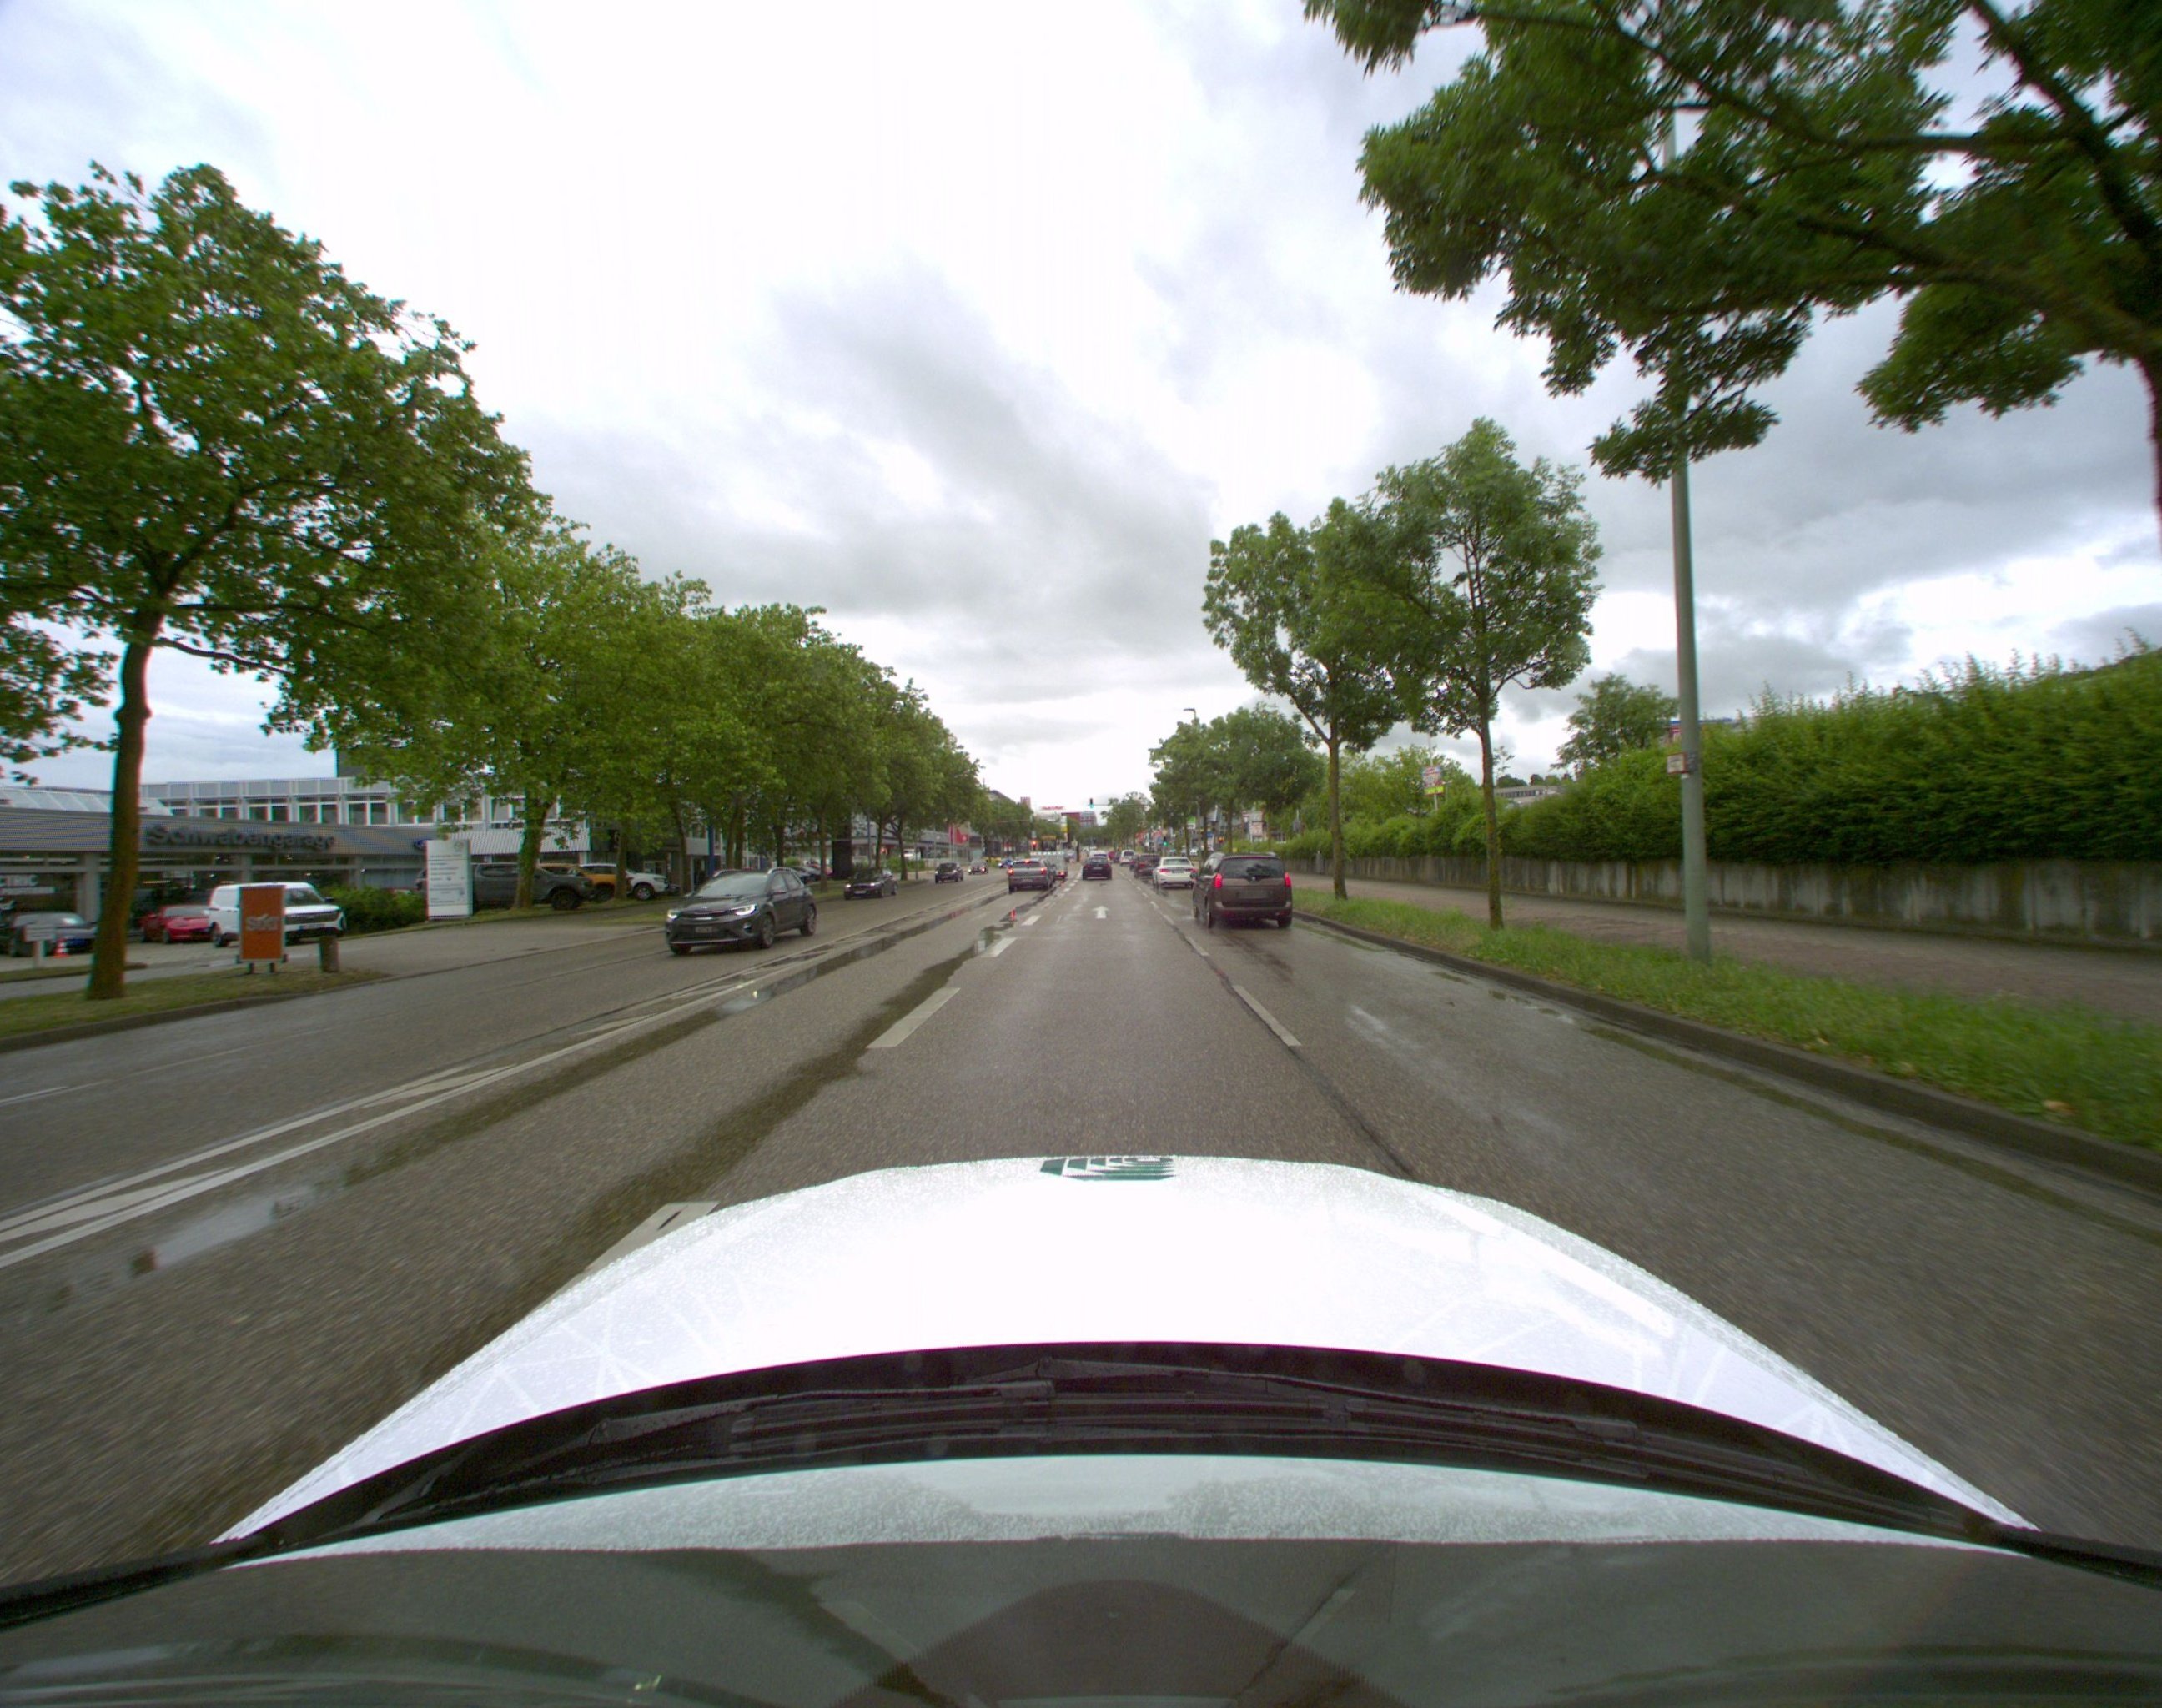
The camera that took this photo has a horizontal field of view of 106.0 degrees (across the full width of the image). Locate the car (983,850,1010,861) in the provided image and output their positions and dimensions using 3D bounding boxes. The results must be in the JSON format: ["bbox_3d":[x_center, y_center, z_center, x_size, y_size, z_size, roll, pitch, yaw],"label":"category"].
[{"bbox_3d":[-13.861,0.292,133.667,3.948,1.552,1.912,-2,1,35],"label":"car"}]

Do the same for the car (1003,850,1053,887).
[{"bbox_3d":[-2.505,0.657,39.379,1.900,1.578,4.882,-3,0,1],"label":"car"}]

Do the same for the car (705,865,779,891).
[{"bbox_3d":[-23.231,1.636,55.992,4.572,1.596,1.986,-1,0,-22],"label":"car"}]

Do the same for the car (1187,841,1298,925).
[{"bbox_3d":[3.534,0.575,18.607,1.720,1.624,4.472,-2,0,1],"label":"car"}]

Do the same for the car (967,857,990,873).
[{"bbox_3d":[-10.220,1.117,81.646,1.704,1.465,4.084,-3,0,0],"label":"car"}]

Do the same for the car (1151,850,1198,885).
[{"bbox_3d":[4.319,0.590,38.121,1.794,1.544,4.622,0,0,2],"label":"car"}]

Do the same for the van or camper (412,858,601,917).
[{"bbox_3d":[-21.059,1.180,30.201,5.308,1.821,2.248,-2,0,-25],"label":"van or camper"}]

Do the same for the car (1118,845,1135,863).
[{"bbox_3d":[5.179,-0.009,92.984,1.776,1.866,4.000,-3,0,1],"label":"car"}]

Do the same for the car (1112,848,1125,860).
[{"bbox_3d":[5.228,-0.017,113.215,1.678,1.684,3.404,0,-1,2],"label":"car"}]

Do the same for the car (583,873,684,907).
[{"bbox_3d":[-23.284,1.847,42.521,4.479,1.450,1.982,-2,0,-28],"label":"car"}]

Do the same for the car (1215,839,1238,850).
[{"bbox_3d":[25.331,-1.593,142.019,3.995,1.720,1.615,-3,0,-39],"label":"car"}]

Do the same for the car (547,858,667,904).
[{"bbox_3d":[-21.764,1.210,37.610,4.471,1.816,1.985,-2,0,-22],"label":"car"}]

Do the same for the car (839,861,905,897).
[{"bbox_3d":[-9.792,1.137,38.516,1.730,1.429,4.539,-3,0,2],"label":"car"}]

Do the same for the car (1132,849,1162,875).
[{"bbox_3d":[4.314,0.506,53.661,1.794,1.587,4.453,0,1,2],"label":"car"}]

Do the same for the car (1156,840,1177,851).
[{"bbox_3d":[16.982,-1.719,161.791,4.094,1.904,1.801,-3,1,2],"label":"car"}]

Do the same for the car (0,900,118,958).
[{"bbox_3d":[-30.585,2.181,23.743,3.867,1.467,1.605,-2,0,13],"label":"car"}]

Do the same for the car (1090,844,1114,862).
[{"bbox_3d":[1.743,-0.090,68.701,1.678,1.377,3.997,-2,0,-2],"label":"car"}]

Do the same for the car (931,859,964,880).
[{"bbox_3d":[-9.990,1.136,61.091,1.704,1.465,4.084,-3,0,0],"label":"car"}]

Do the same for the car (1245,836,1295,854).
[{"bbox_3d":[16.341,-0.786,70.675,3.970,1.442,1.657,-2,0,3],"label":"car"}]

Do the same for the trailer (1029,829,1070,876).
[{"bbox_3d":[-2.028,-0.116,54.468,2.365,2.897,5.545,-3,0,0],"label":"trailer"}]

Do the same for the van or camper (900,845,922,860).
[{"bbox_3d":[-23.413,-0.140,112.154,1.986,1.967,4.789,0,-1,1],"label":"van or camper"}]

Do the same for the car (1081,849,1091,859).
[{"bbox_3d":[1.076,0.051,176.888,1.986,2.014,4.002,0,-1,2],"label":"car"}]

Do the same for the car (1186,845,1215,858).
[{"bbox_3d":[16.729,-0.389,114.148,1.908,1.576,4.315,-2,0,42],"label":"car"}]

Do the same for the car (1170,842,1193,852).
[{"bbox_3d":[16.278,-1.174,132.291,3.617,1.536,1.625,-3,0,-39],"label":"car"}]

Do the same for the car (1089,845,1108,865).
[{"bbox_3d":[1.903,0.109,86.715,1.986,2.014,4.001,0,-1,1],"label":"car"}]

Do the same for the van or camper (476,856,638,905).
[{"bbox_3d":[-21.977,1.119,34.447,5.379,1.770,2.089,-2,-3,-22],"label":"van or camper"}]

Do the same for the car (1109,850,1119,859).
[{"bbox_3d":[5.677,0.090,139.937,1.689,1.443,3.991,-2,0,2],"label":"car"}]

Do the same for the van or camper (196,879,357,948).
[{"bbox_3d":[-23.488,1.713,23.755,4.589,1.784,1.850,-2,0,25],"label":"van or camper"}]

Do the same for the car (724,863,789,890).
[{"bbox_3d":[-23.601,1.624,59.282,4.236,1.653,1.997,-3,0,-23],"label":"car"}]

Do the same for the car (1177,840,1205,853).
[{"bbox_3d":[17.041,-1.170,126.535,4.048,1.662,1.960,-5,2,-39],"label":"car"}]

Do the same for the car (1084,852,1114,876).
[{"bbox_3d":[1.121,0.589,51.858,1.775,1.398,4.000,-1,0,1],"label":"car"}]

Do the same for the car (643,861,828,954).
[{"bbox_3d":[-6.552,0.925,15.991,1.660,1.462,4.182,-3,0,2],"label":"car"}]
